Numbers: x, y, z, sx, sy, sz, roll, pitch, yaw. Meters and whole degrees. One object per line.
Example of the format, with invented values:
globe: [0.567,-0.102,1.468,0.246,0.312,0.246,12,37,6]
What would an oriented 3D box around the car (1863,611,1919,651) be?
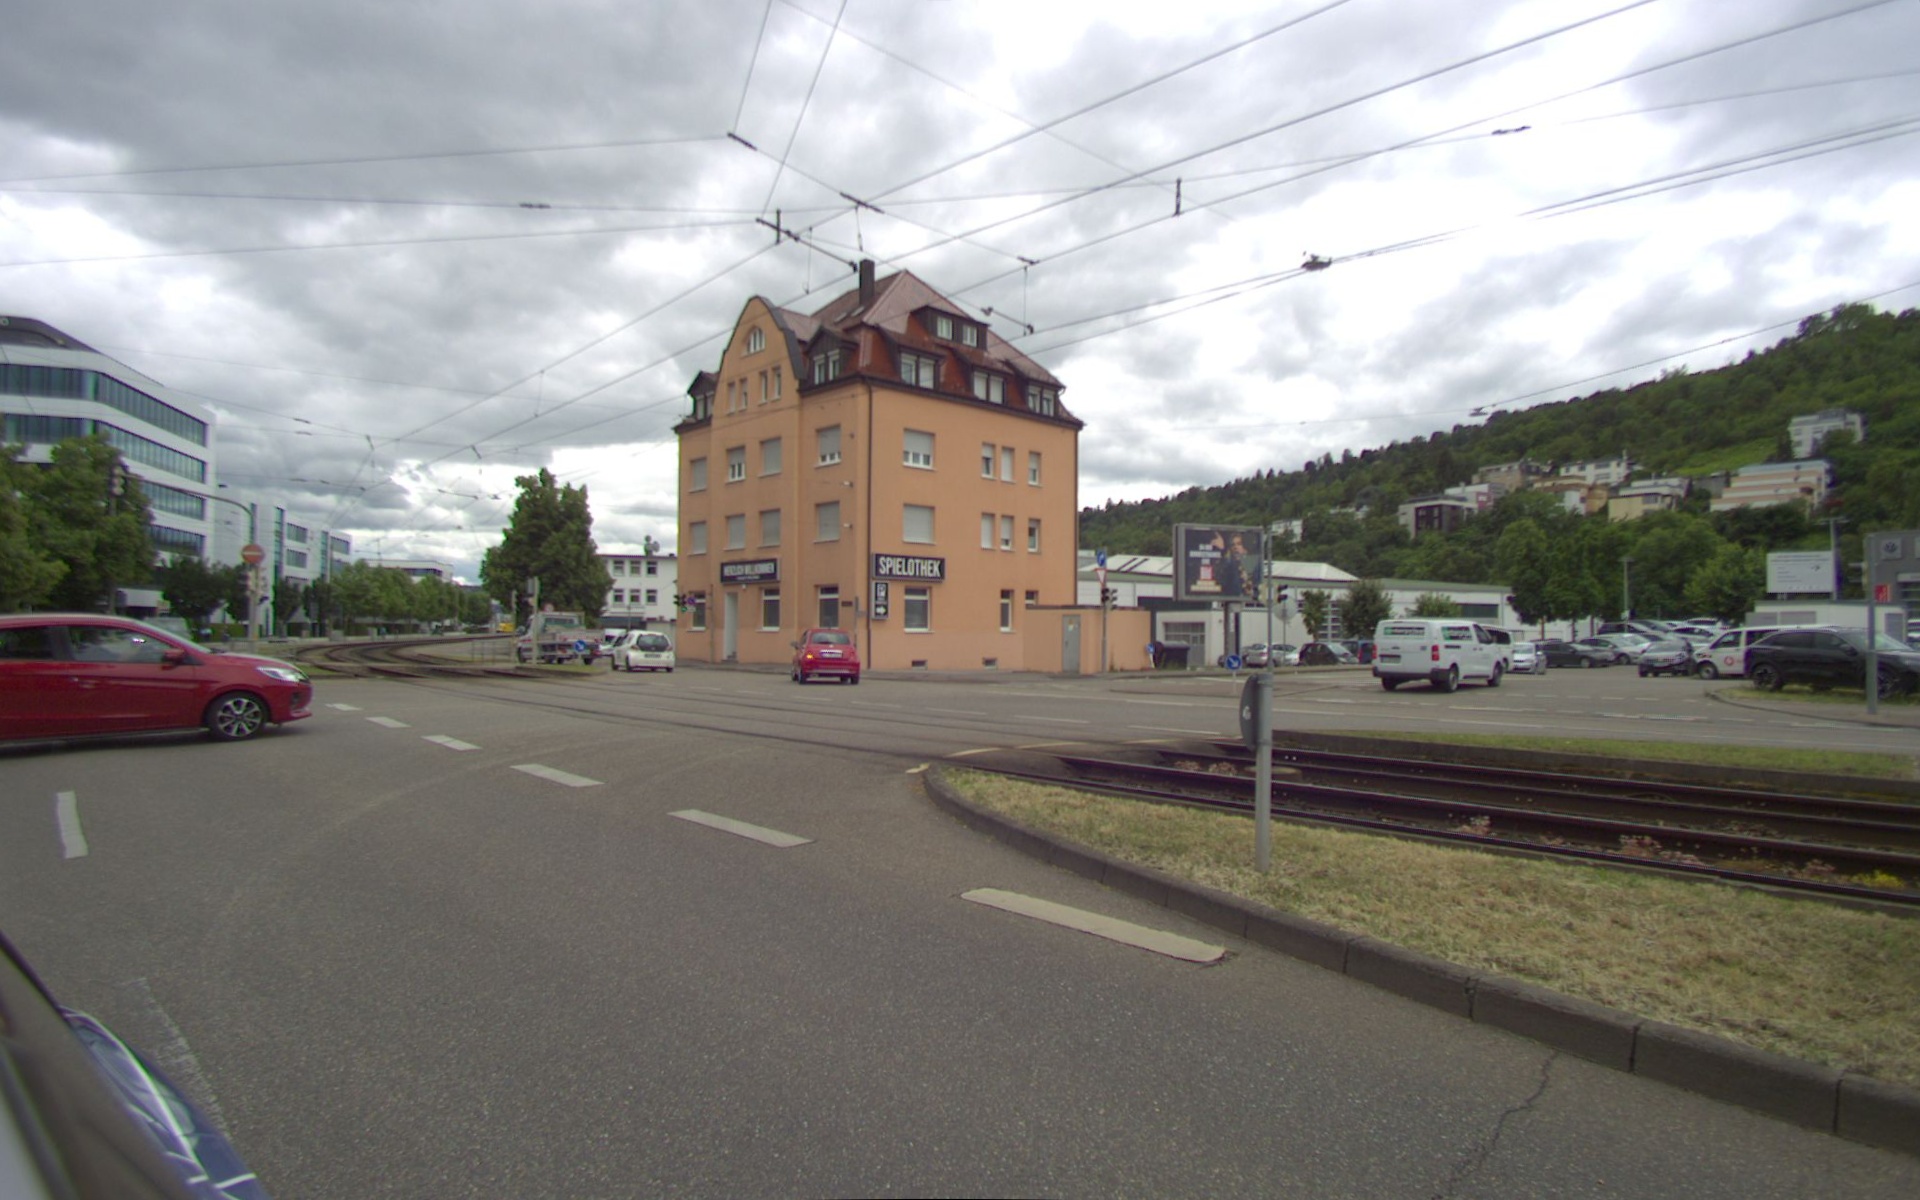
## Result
car: [45.762,1.530,47.952,1.821,1.807,4.014,2,0,-22]

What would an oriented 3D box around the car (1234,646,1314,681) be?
car: [18.718,3.794,60.328,4.433,1.853,2.006,2,0,-29]

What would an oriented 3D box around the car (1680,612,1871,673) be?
car: [29.425,1.581,36.760,1.965,2.029,5.033,2,-4,-20]

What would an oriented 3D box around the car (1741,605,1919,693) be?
car: [20.210,1.008,22.604,1.967,1.652,4.010,-2,1,-12]

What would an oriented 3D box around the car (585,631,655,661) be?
car: [-25.737,3.432,76.894,1.735,2.117,6.262,-1,-2,18]

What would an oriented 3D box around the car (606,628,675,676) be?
car: [-11.501,1.897,36.341,1.571,1.431,3.383,-2,-4,-31]

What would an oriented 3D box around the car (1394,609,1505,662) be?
car: [23.738,1.698,49.142,4.502,2.259,1.976,3,0,36]

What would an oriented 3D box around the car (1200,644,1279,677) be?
car: [17.267,3.713,62.462,4.432,1.853,2.007,2,0,-28]

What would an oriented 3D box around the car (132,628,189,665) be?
car: [-30.545,1.737,38.648,1.603,1.342,3.179,1,-2,-40]

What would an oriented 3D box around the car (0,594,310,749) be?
car: [-9.534,0.740,11.270,3.680,1.541,1.772,2,-2,-38]

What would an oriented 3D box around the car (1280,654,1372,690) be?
car: [16.348,3.182,45.307,3.565,1.497,1.583,-2,-2,38]

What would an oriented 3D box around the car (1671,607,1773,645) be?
car: [45.998,1.556,61.201,1.968,2.012,4.520,2,0,-38]

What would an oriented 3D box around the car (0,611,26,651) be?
car: [-36.334,1.170,37.634,1.720,1.437,4.176,1,-2,-34]

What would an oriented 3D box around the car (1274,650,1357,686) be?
car: [20.395,3.886,57.983,4.433,1.853,2.006,2,0,-30]

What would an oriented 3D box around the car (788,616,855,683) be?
car: [-3.818,1.296,28.022,1.676,1.536,4.007,1,1,-7]

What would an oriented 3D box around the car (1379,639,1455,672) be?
car: [21.234,2.560,47.084,1.511,1.348,2.818,2,0,-39]

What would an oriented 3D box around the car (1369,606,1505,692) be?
car: [13.424,1.280,28.355,2.006,2.056,4.761,1,2,44]

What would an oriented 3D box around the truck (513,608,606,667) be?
truck: [-17.969,1.693,45.237,2.283,2.440,5.665,4,-4,-38]
